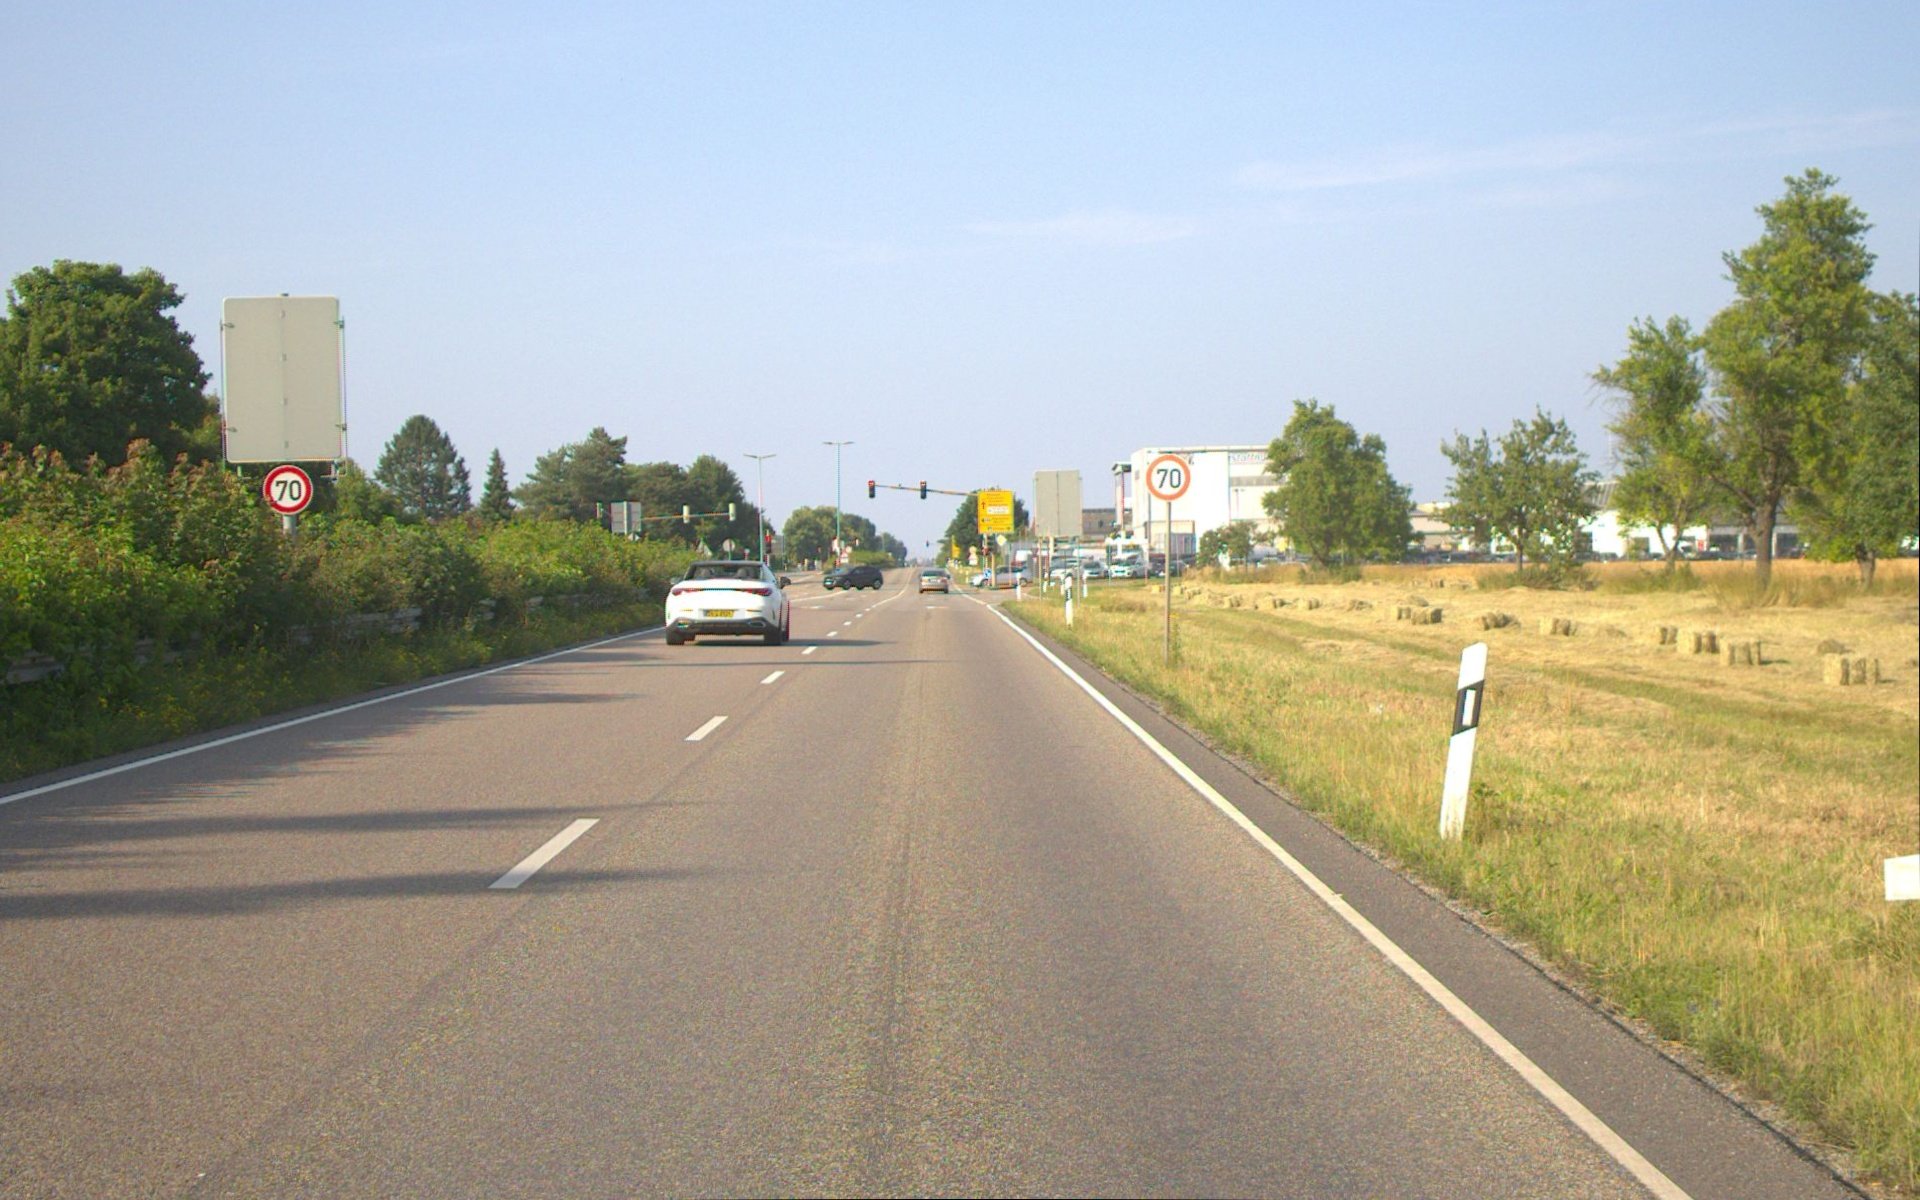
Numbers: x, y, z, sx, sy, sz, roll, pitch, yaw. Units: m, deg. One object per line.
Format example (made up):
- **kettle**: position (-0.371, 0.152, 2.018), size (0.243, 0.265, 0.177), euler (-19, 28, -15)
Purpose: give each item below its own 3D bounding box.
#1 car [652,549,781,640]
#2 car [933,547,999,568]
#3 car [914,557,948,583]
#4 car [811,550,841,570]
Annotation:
- **car**: position (-3.950, -0.110, 56.287), size (1.909, 1.417, 4.000), euler (0, 1, -1)
- **car**: position (0.419, -2.849, 231.368), size (3.986, 1.403, 1.954), euler (0, 1, -20)
- **car**: position (-1.712, -1.752, 202.264), size (1.993, 1.481, 4.000), euler (0, 1, -1)
- **car**: position (-9.439, -2.852, 242.962), size (1.947, 1.403, 4.000), euler (0, 1, 0)
